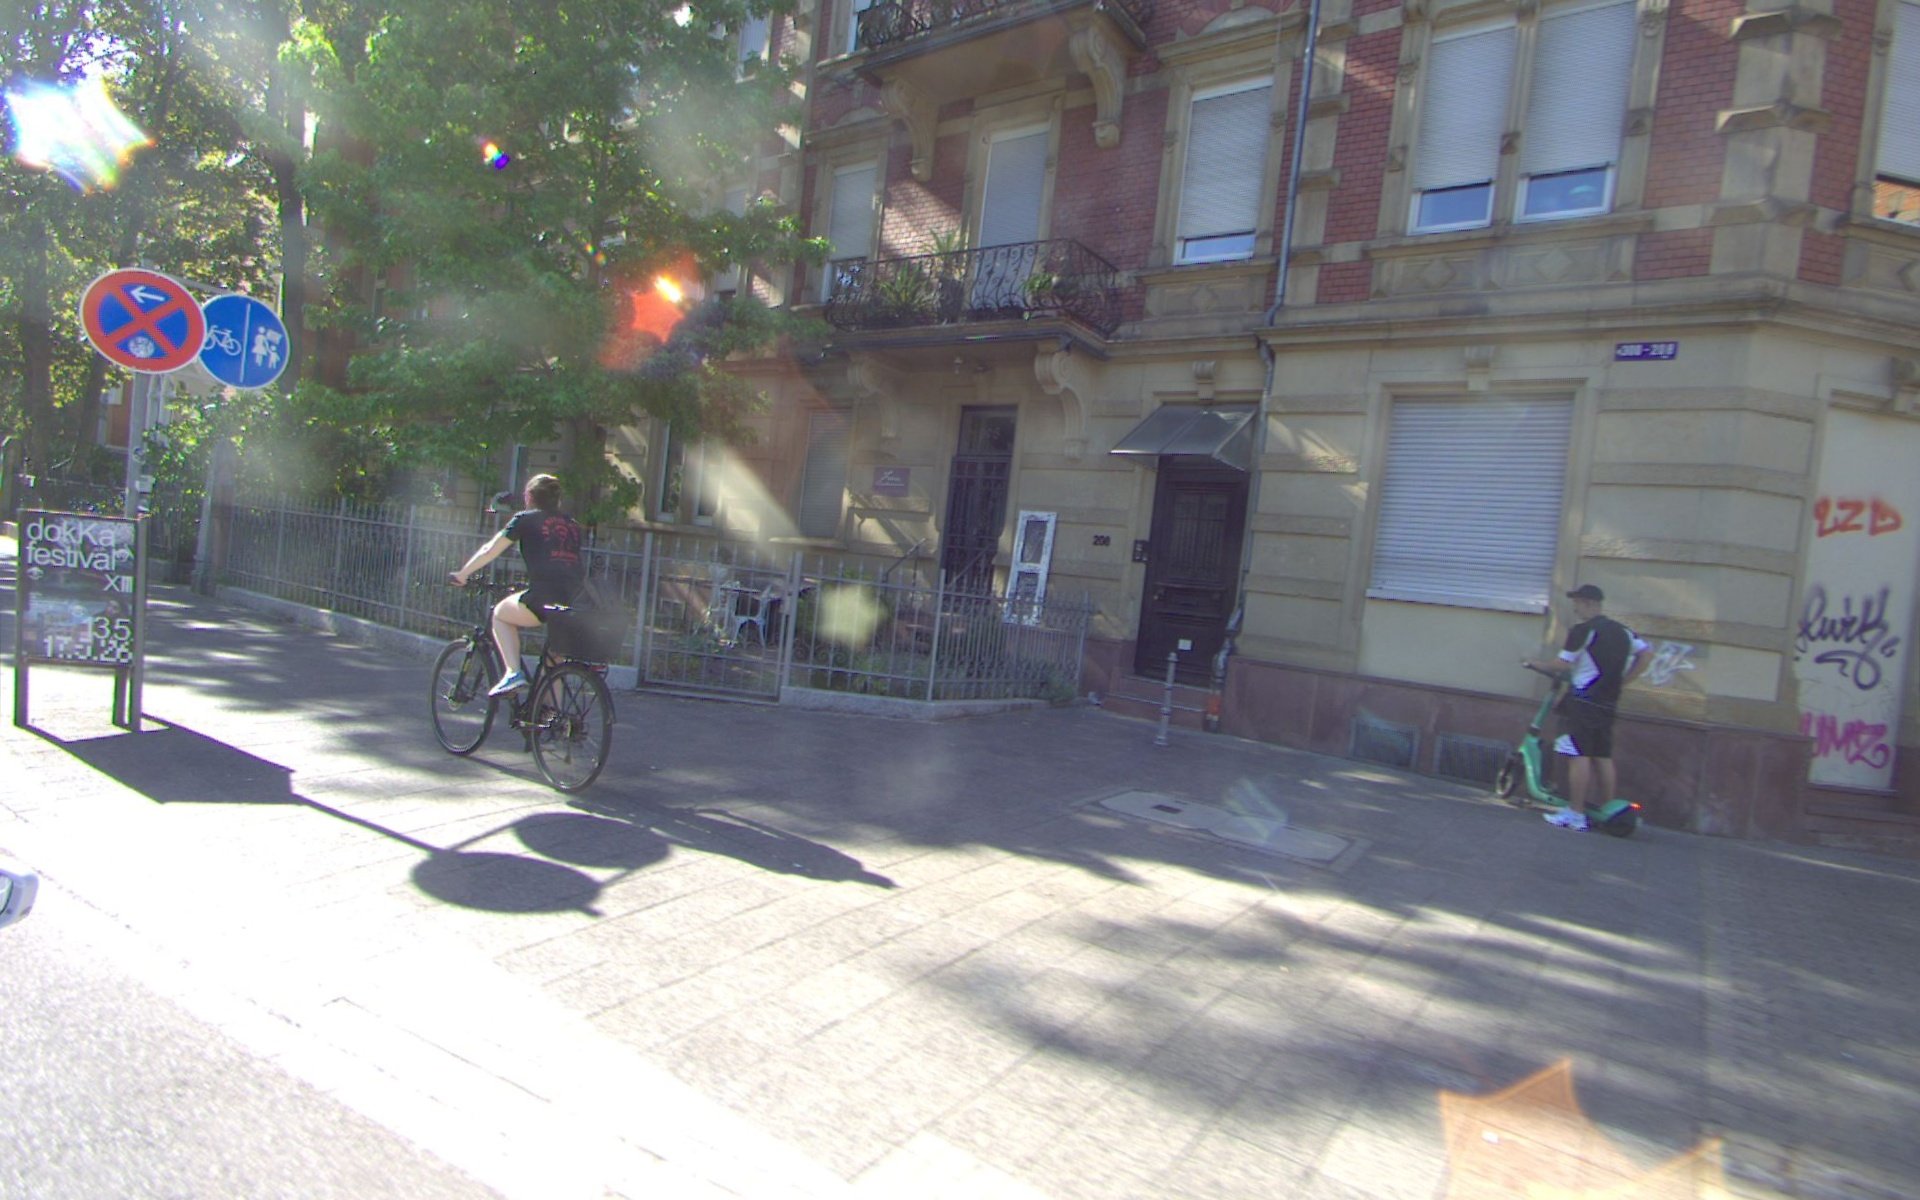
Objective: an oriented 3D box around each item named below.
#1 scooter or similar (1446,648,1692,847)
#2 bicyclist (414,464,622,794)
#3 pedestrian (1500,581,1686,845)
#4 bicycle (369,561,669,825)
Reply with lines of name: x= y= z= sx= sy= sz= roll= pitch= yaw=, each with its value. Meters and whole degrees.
scooter or similar: x=4.817 y=1.114 z=8.030 sx=0.753 sy=1.280 sz=1.395 roll=3 pitch=3 yaw=-37
bicyclist: x=-2.550 y=0.131 z=5.802 sx=0.874 sy=1.719 sz=0.645 roll=8 pitch=5 yaw=32
pedestrian: x=4.932 y=0.861 z=7.876 sx=0.684 sy=1.917 sz=0.763 roll=6 pitch=2 yaw=-20
bicycle: x=-2.600 y=0.456 z=5.846 sx=1.812 sy=1.193 sz=0.652 roll=8 pitch=5 yaw=32
